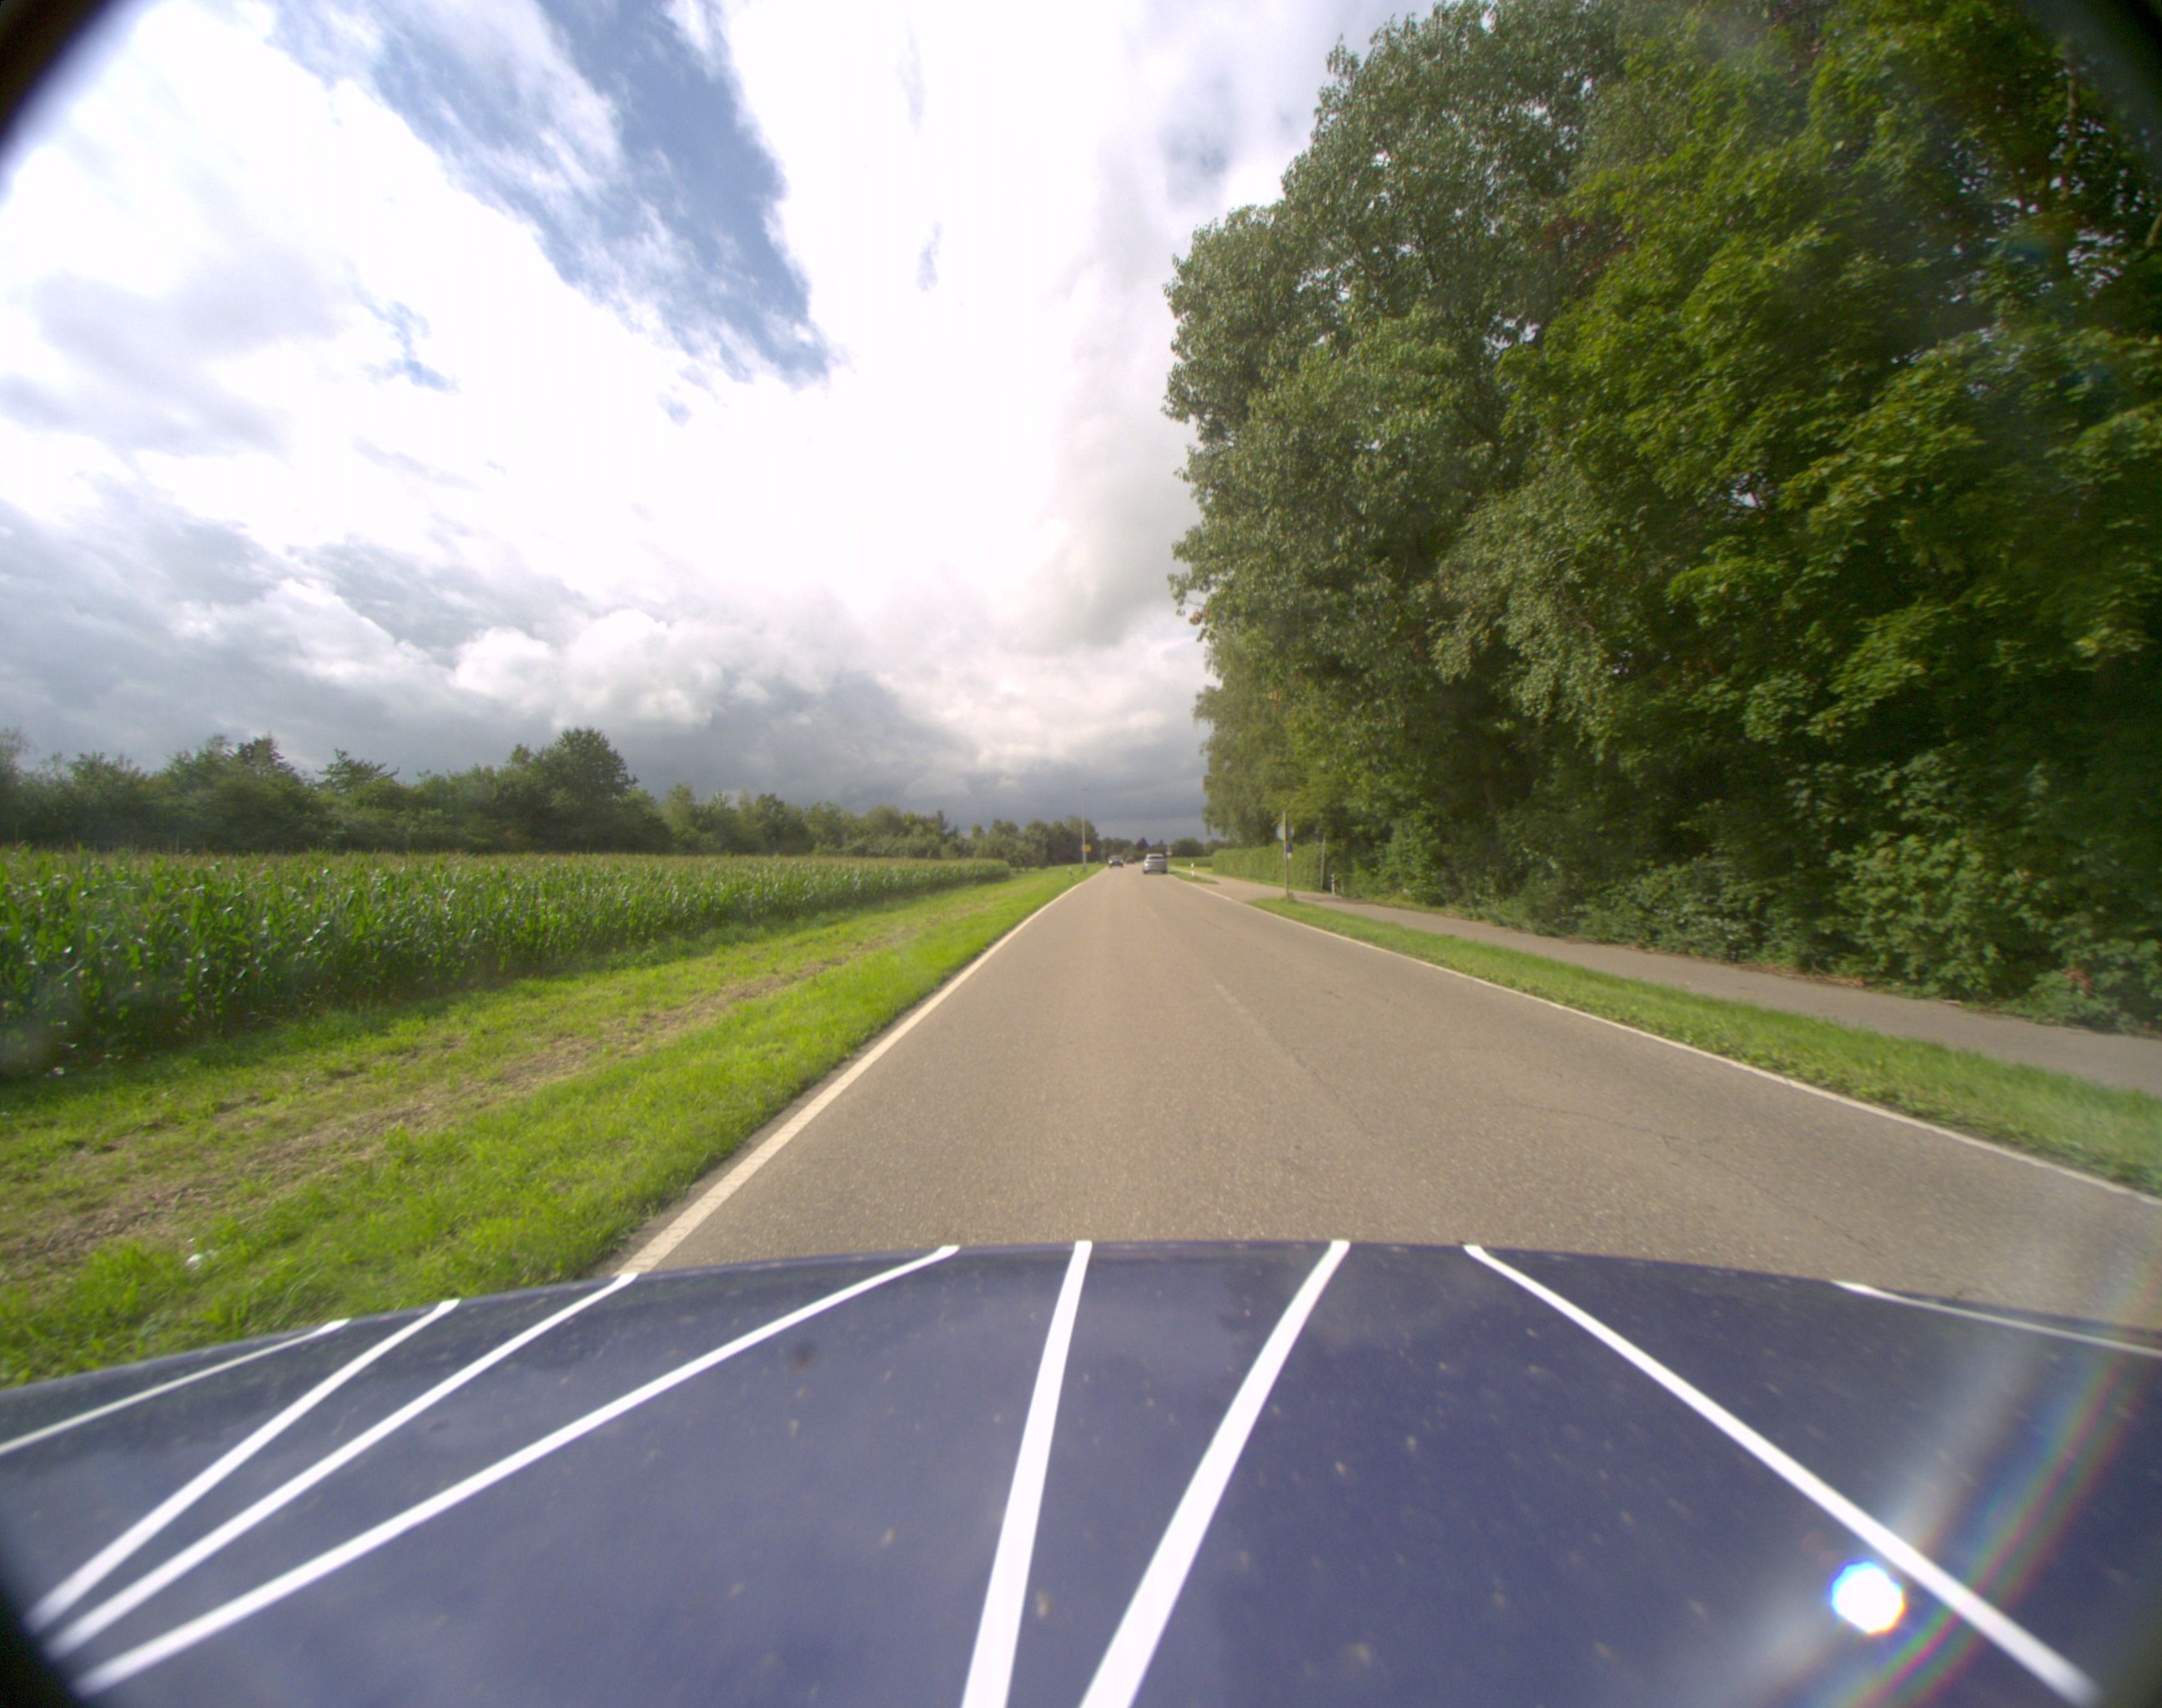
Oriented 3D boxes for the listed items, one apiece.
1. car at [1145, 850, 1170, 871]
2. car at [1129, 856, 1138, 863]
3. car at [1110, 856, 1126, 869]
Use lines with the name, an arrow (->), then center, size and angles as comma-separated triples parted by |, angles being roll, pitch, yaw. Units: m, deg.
car -> 6.300, 0.538, 63.048 | 1.815, 1.641, 4.293 | 0, 0, 3
car -> 10.541, 1.132, 152.230 | 1.744, 1.462, 4.001 | 0, 0, 3
car -> 4.914, 1.157, 101.358 | 1.998, 1.594, 4.001 | -2, 0, 3
